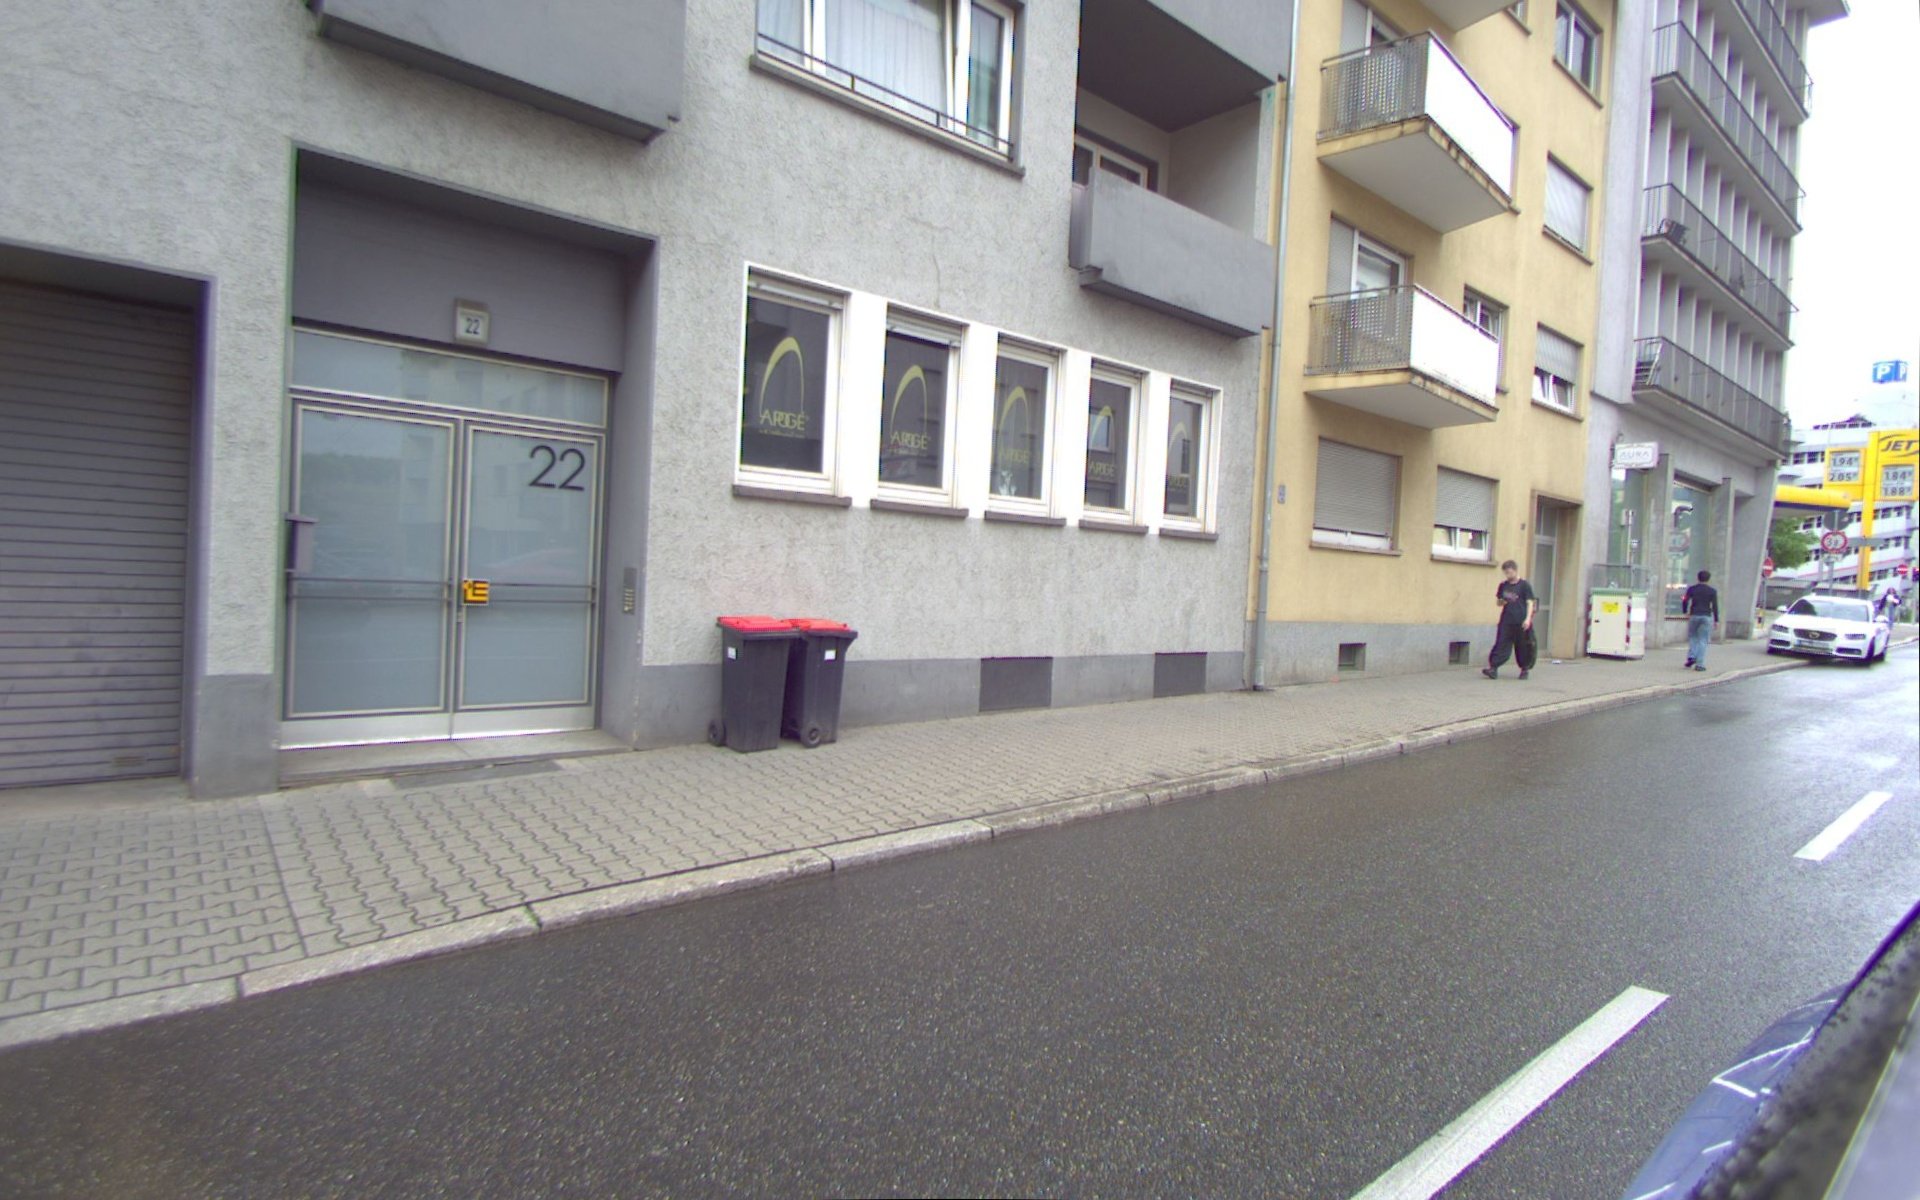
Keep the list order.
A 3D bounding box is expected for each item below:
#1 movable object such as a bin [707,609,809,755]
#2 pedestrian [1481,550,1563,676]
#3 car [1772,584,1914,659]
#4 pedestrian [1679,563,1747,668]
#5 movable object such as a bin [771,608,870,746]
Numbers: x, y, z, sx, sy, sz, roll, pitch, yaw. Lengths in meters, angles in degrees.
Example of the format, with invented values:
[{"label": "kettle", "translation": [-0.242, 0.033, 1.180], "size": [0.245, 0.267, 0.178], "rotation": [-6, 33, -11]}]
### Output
[{"label": "movable object such as a bin", "translation": [-1.488, 0.578, 7.451], "size": [0.506, 0.967, 0.541], "rotation": [0, 5, -40]}, {"label": "pedestrian", "translation": [8.303, 0.174, 14.950], "size": [0.871, 1.777, 0.680], "rotation": [0, 2, -35]}, {"label": "car", "translation": [20.113, 0.429, 23.004], "size": [4.093, 1.453, 1.803], "rotation": [0, 4, -41]}, {"label": "pedestrian", "translation": [13.524, 0.260, 18.168], "size": [1.038, 1.799, 0.644], "rotation": [0, 5, -41]}, {"label": "movable object such as a bin", "translation": [-1.077, 0.568, 7.782], "size": [0.506, 0.961, 0.541], "rotation": [0, 5, -40]}]
